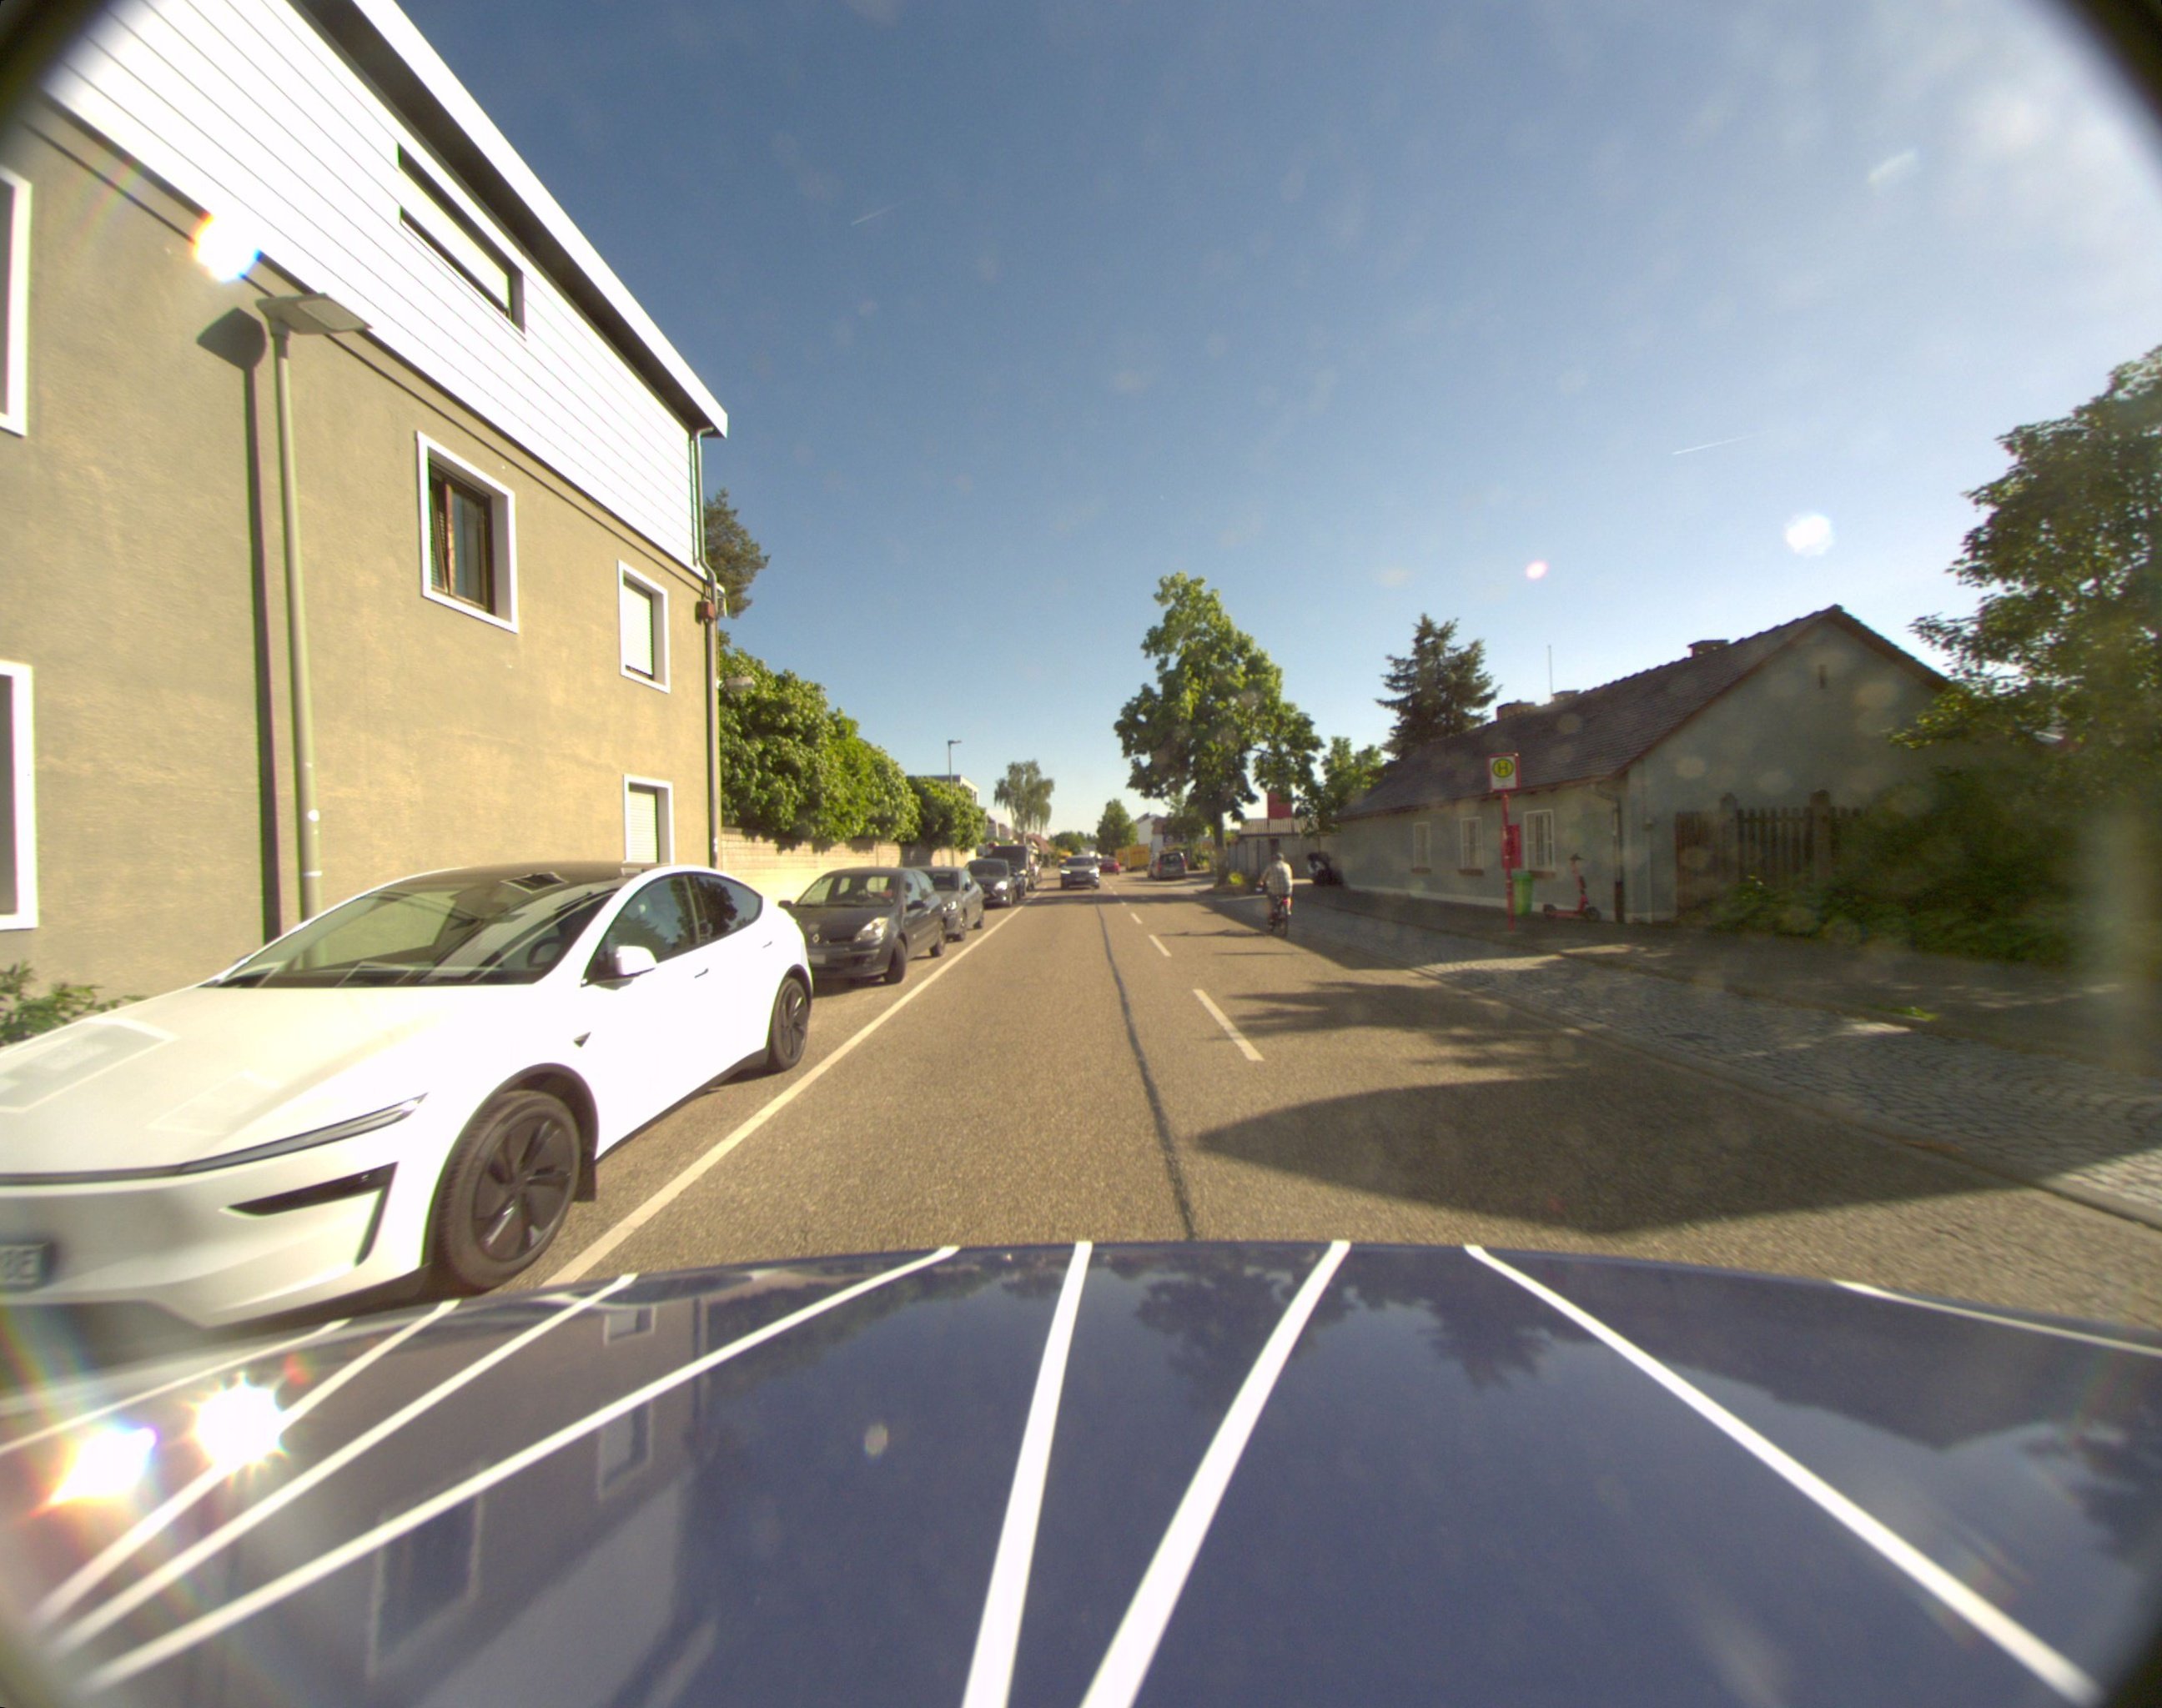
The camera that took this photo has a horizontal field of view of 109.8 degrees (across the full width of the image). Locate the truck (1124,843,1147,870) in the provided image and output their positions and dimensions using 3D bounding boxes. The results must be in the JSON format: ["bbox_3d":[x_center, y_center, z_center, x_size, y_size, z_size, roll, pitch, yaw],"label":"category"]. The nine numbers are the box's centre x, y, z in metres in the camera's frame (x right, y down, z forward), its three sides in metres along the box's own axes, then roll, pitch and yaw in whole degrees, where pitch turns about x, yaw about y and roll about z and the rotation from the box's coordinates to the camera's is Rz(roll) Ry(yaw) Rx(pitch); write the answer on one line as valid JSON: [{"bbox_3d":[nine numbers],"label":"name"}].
[{"bbox_3d":[6.206,0.266,87.535,2.145,2.857,5.749,-3,0,1],"label":"truck"}]

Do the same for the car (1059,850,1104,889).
[{"bbox_3d":[0.016,0.720,37.814,1.999,1.750,5.015,-2,0,0],"label":"car"}]

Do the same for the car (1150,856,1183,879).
[{"bbox_3d":[6.030,0.939,53.964,1.780,1.439,4.615,-3,0,1],"label":"car"}]

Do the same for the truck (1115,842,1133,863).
[{"bbox_3d":[6.685,-0.233,118.656,2.286,3.012,5.910,-6,1,1],"label":"truck"}]

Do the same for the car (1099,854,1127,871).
[{"bbox_3d":[2.783,0.736,65.073,1.873,1.412,4.533,1,0,8],"label":"car"}]

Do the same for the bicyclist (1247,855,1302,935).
[{"bbox_3d":[3.883,0.794,15.317,0.841,1.533,1.137,1,1,3],"label":"bicyclist"}]

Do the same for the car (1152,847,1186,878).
[{"bbox_3d":[5.650,0.527,49.091,1.779,1.838,4.616,-3,0,3],"label":"car"}]

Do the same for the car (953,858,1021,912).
[{"bbox_3d":[-3.098,0.978,25.857,1.686,1.604,4.205,-3,0,1],"label":"car"}]

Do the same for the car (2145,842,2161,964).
[{"bbox_3d":[15.322,0.565,8.471,4.067,1.506,1.775,-1,0,6],"label":"car"}]

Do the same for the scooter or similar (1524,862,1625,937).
[{"bbox_3d":[8.913,0.792,13.794,0.484,1.263,1.576,-2,0,-17],"label":"scooter or similar"}]

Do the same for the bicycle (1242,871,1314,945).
[{"bbox_3d":[3.865,1.008,15.147,0.841,1.232,2.604,1,1,3],"label":"bicycle"}]

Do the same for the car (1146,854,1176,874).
[{"bbox_3d":[6.098,0.741,58.639,1.780,1.439,4.923,-3,0,1],"label":"car"}]

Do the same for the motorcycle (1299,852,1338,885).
[{"bbox_3d":[9.606,0.575,30.828,0.701,1.226,2.539,-4,0,0],"label":"motorcycle"}]

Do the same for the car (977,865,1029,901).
[{"bbox_3d":[-3.112,1.134,31.134,1.658,1.310,4.104,-1,0,1],"label":"car"}]

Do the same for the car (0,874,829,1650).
[{"bbox_3d":[-3.077,1.000,4.081,1.937,1.635,4.769,-1,0,-1],"label":"car"}]

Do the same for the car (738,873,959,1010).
[{"bbox_3d":[-3.028,1.072,10.878,1.602,1.464,4.190,-1,0,4],"label":"car"}]

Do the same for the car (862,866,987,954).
[{"bbox_3d":[-3.060,1.035,15.642,1.663,1.496,4.031,-1,0,1],"label":"car"}]

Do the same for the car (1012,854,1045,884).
[{"bbox_3d":[-3.395,0.963,49.846,1.806,1.733,4.911,-3,1,0],"label":"car"}]

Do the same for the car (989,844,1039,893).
[{"bbox_3d":[-3.253,0.664,37.826,1.896,2.246,5.145,-1,0,1],"label":"car"}]

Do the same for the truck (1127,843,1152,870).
[{"bbox_3d":[6.130,0.215,80.693,2.173,2.698,5.749,-3,1,1],"label":"truck"}]
